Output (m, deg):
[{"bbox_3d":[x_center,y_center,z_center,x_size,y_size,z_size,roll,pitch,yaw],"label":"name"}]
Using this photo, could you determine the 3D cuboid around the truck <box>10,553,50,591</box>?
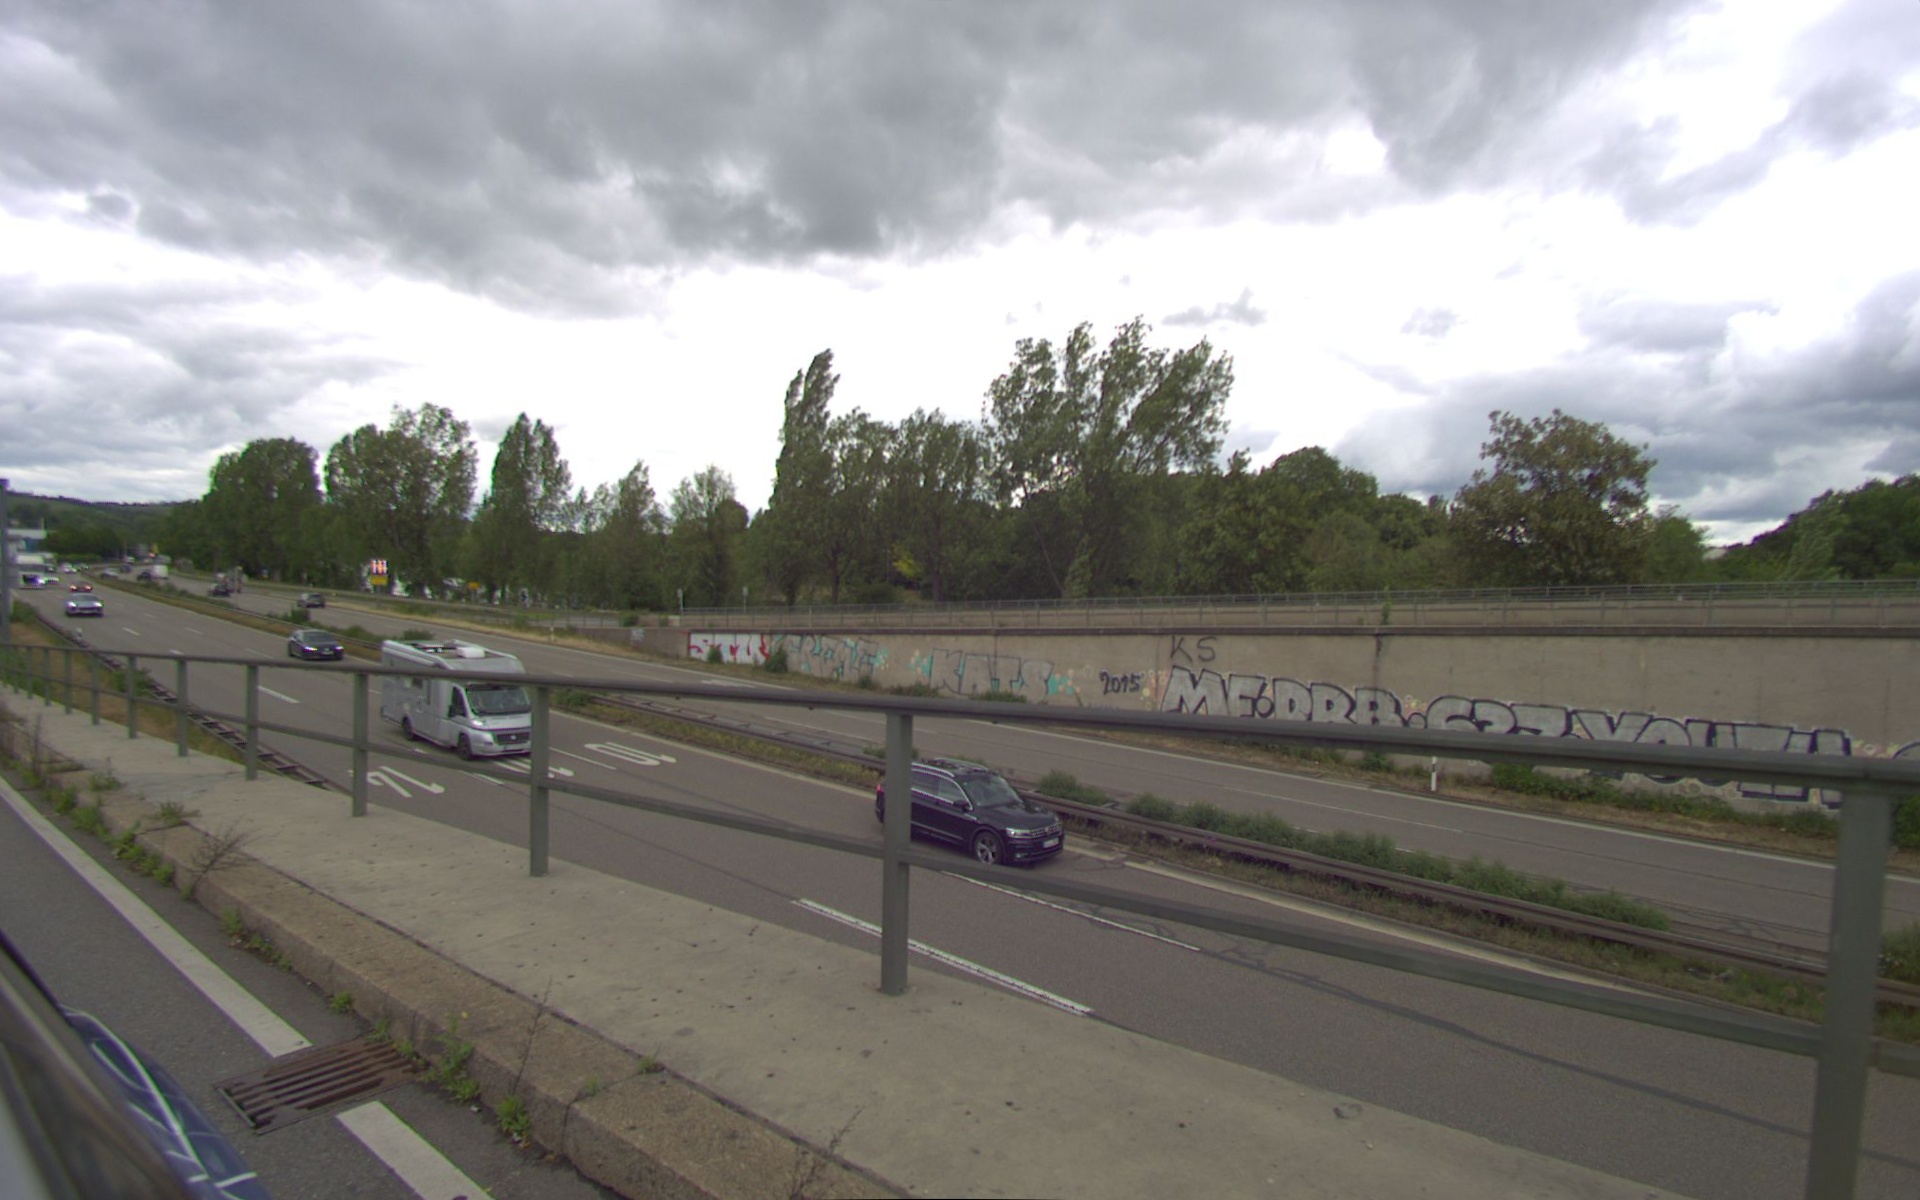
[{"bbox_3d":[-109.915,-3.333,119.553,6.697,4.283,2.722,3,1,42],"label":"truck"}]

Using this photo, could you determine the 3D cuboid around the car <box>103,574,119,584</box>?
[{"bbox_3d":[-159.391,-3.976,190.025,3.932,1.662,1.738,4,2,42],"label":"car"}]

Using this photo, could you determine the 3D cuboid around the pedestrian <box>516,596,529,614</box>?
[{"bbox_3d":[-44.097,0.478,101.914,1.078,1.717,0.821,3,3,43],"label":"pedestrian"}]

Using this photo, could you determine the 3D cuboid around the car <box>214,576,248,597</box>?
[{"bbox_3d":[-94.299,-1.786,130.852,6.113,2.566,2.220,3,1,42],"label":"car"}]

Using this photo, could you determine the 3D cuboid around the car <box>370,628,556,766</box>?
[{"bbox_3d":[-15.202,2.711,30.618,7.660,3.264,2.336,3,0,43],"label":"car"}]

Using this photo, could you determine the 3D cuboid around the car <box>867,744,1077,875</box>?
[{"bbox_3d":[0.176,4.273,21.327,4.280,1.726,1.820,3,1,43],"label":"car"}]

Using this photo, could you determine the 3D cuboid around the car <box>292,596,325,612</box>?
[{"bbox_3d":[-64.257,0.364,99.785,4.110,1.386,1.693,3,1,42],"label":"car"}]

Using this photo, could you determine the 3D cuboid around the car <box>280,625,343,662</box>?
[{"bbox_3d":[-33.905,2.220,52.866,4.220,1.581,1.730,3,2,43],"label":"car"}]

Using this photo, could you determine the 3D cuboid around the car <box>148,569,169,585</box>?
[{"bbox_3d":[-149.103,-4.257,188.261,5.361,2.800,2.186,4,1,43],"label":"car"}]

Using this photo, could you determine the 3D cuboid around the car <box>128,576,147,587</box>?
[{"bbox_3d":[-140.120,-3.090,172.459,4.334,1.662,1.878,3,1,43],"label":"car"}]

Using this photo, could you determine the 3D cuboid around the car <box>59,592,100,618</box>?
[{"bbox_3d":[-65.278,0.390,75.037,4.279,1.813,1.820,-1,-1,43],"label":"car"}]

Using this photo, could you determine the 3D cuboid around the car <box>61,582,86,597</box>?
[{"bbox_3d":[-97.926,-1.146,111.757,4.167,1.451,1.732,5,3,43],"label":"car"}]

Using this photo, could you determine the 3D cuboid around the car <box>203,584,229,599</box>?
[{"bbox_3d":[-85.256,-0.931,115.919,3.859,1.512,1.646,3,1,42],"label":"car"}]

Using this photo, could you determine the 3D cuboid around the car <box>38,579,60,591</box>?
[{"bbox_3d":[-124.530,-2.012,138.365,4.278,1.429,1.894,4,3,44],"label":"car"}]
